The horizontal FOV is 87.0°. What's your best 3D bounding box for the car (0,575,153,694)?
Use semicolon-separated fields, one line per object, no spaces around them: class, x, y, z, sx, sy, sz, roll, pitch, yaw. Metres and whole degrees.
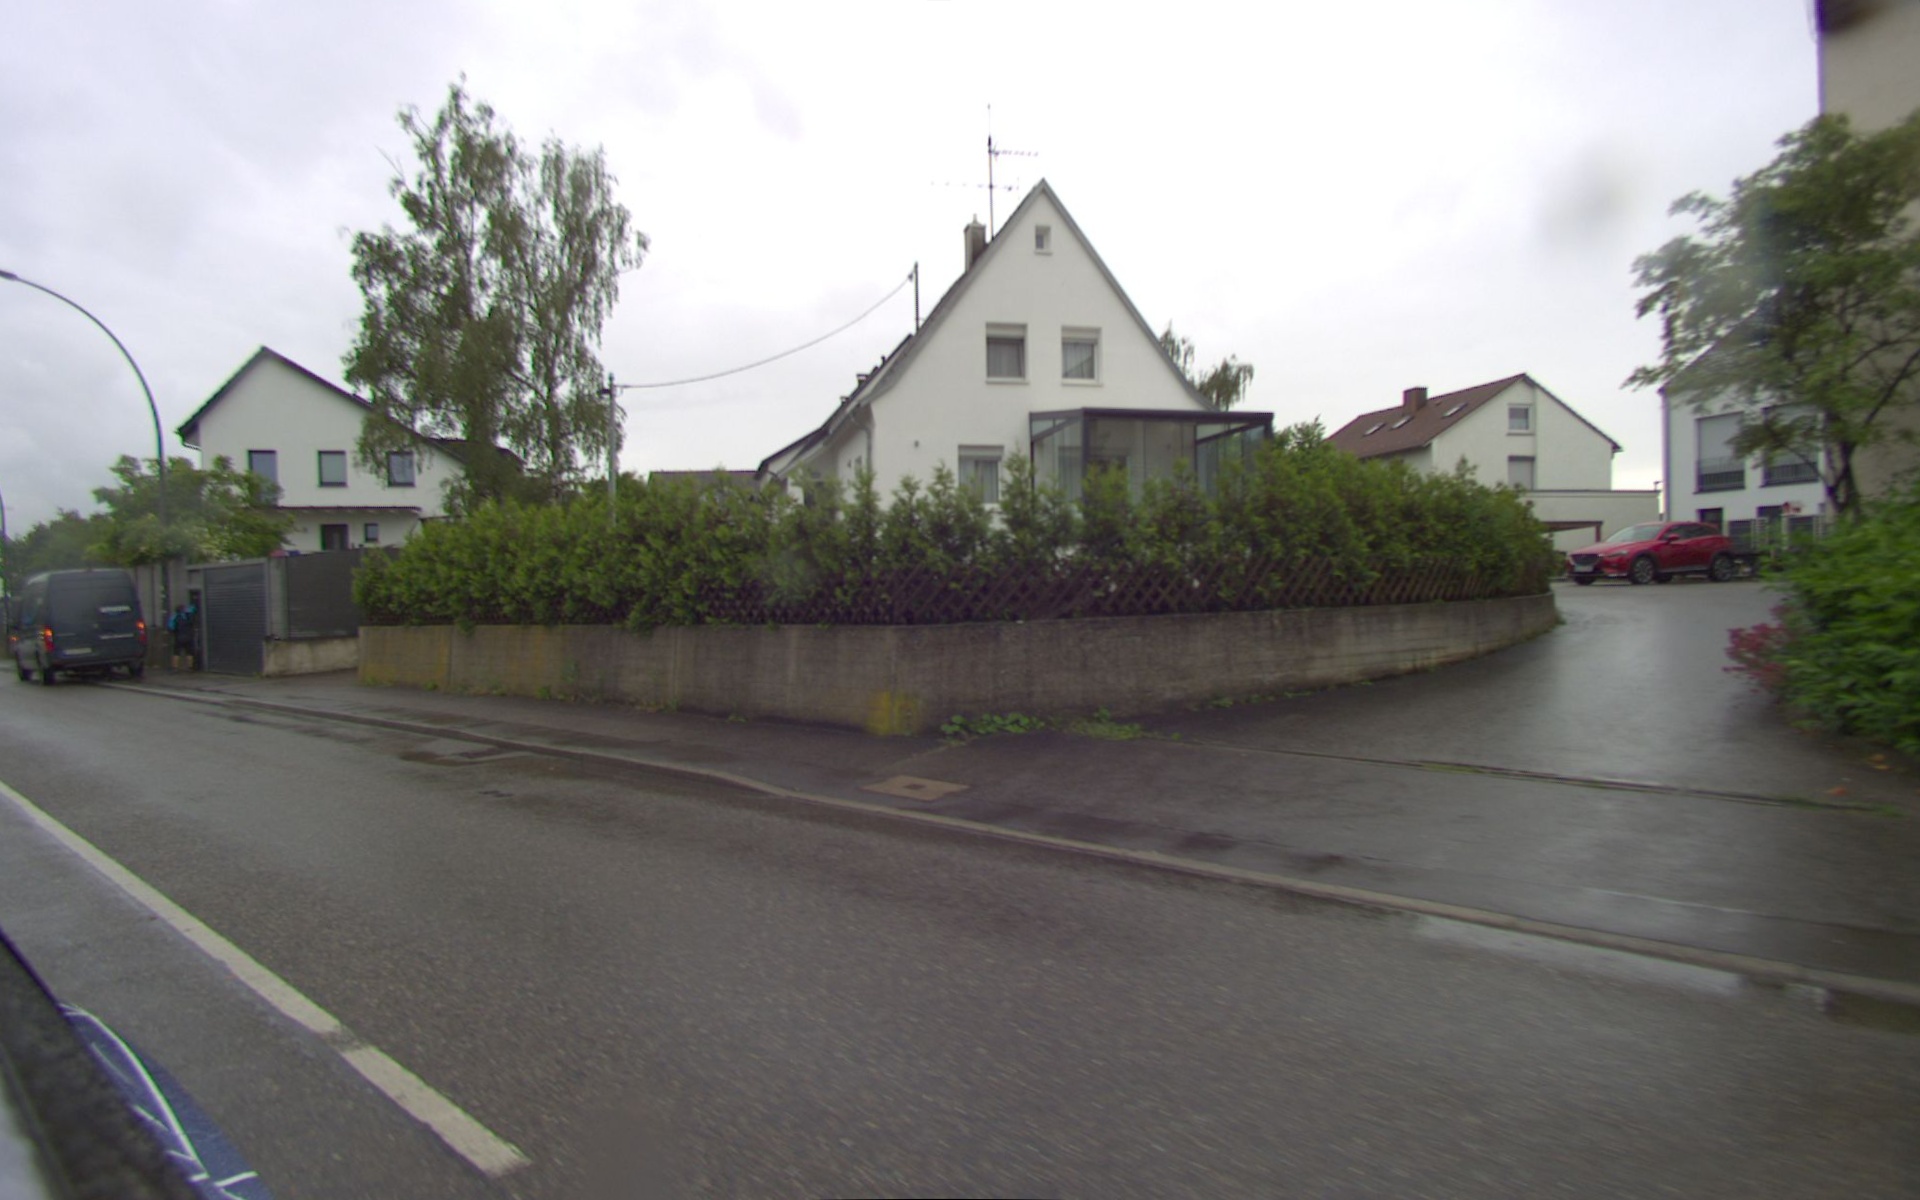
car;-22.700;0.850;25.850;5.914;2.669;2.073;-2;1;40

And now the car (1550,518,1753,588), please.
car;17.060;-1.123;25.028;3.932;1.586;2.005;-1;-1;-15

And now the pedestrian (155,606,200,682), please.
pedestrian;-19.974;1.111;25.852;0.669;1.900;0.812;-1;-1;-19
